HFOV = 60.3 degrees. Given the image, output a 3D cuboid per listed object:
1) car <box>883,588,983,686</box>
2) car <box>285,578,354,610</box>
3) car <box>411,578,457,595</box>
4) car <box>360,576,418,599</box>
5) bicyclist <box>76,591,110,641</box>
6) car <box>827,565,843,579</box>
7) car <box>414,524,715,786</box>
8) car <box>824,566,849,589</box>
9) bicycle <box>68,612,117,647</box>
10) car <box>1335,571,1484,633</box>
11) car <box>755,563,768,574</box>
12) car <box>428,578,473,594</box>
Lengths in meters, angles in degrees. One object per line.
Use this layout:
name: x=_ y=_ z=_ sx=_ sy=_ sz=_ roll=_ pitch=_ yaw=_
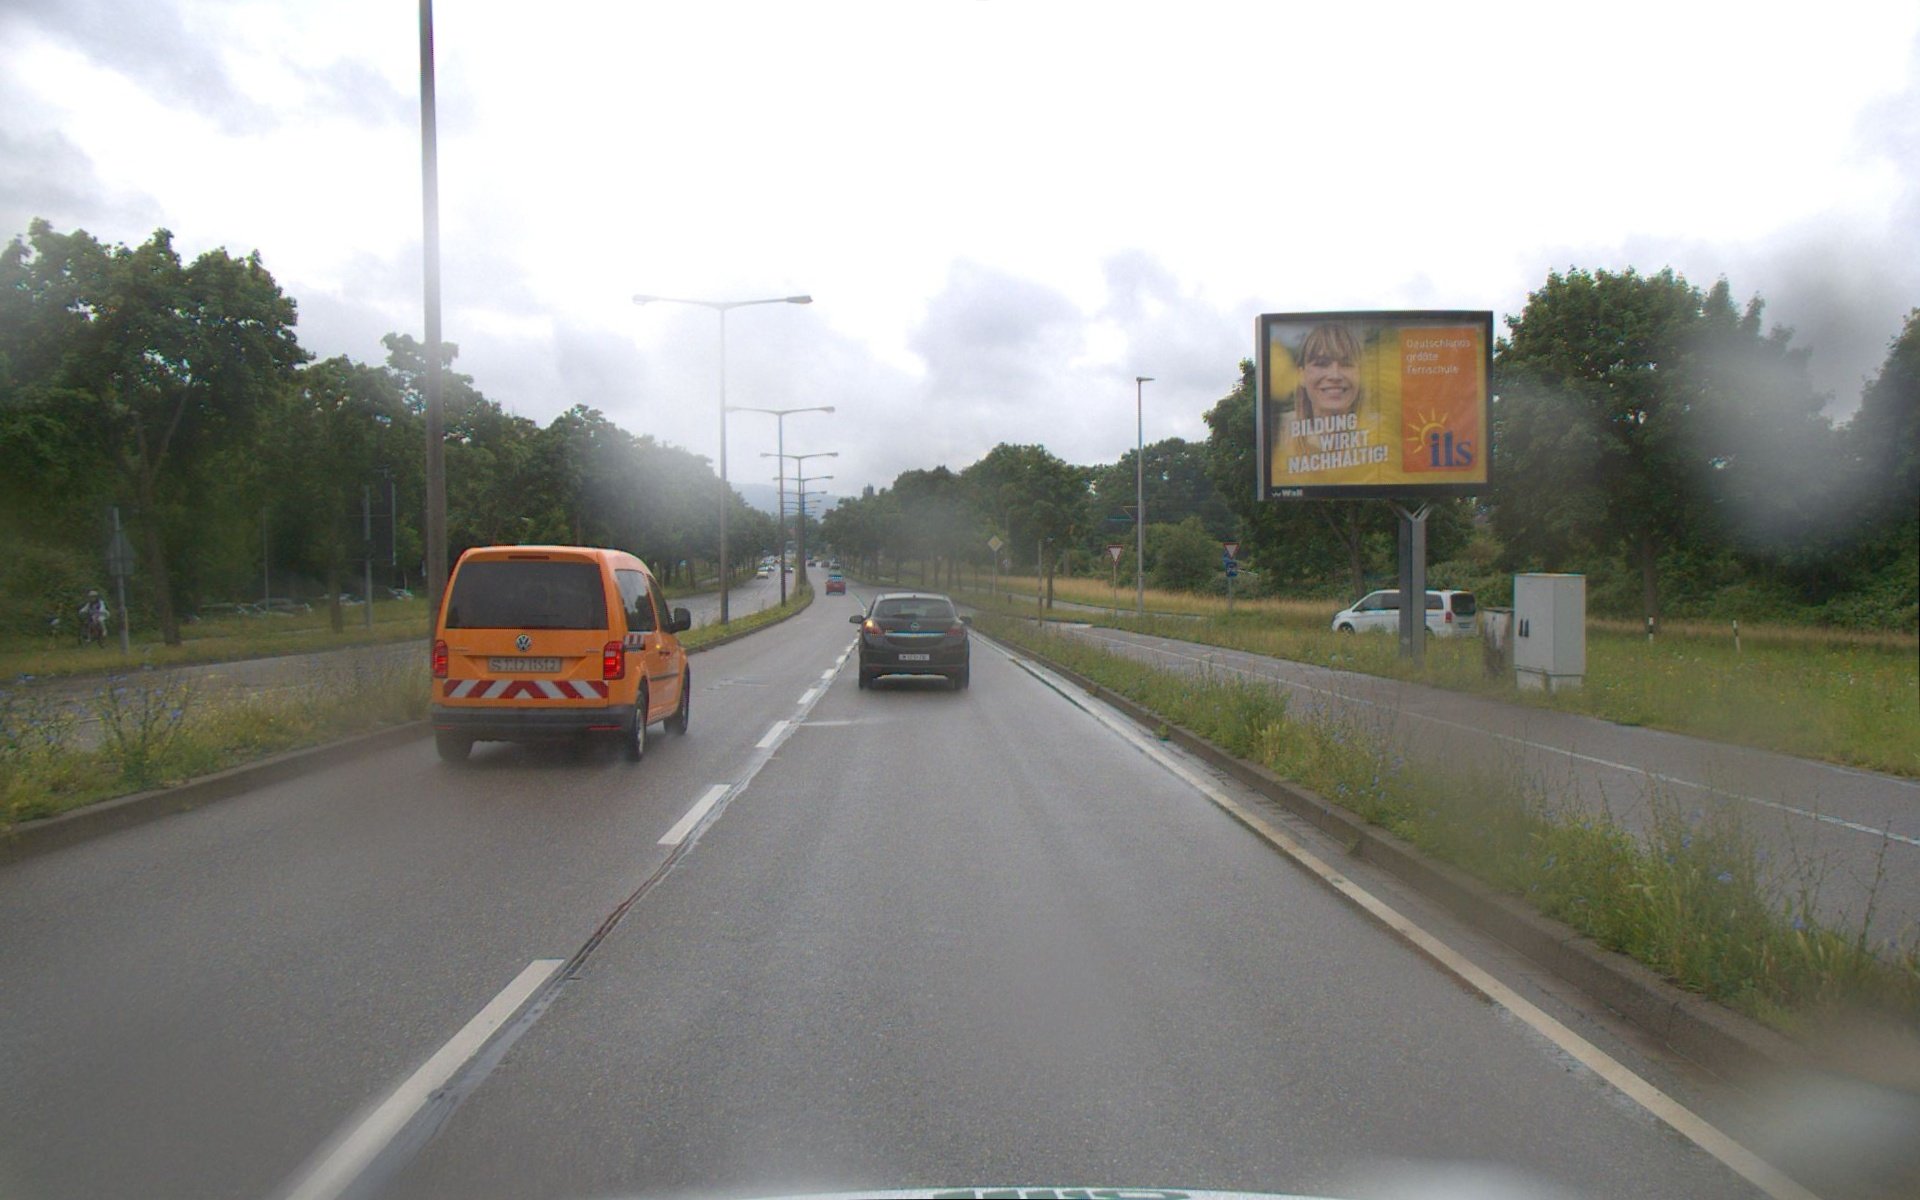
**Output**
car: x=-0.446 y=0.531 z=25.897 sx=1.433 sy=1.352 sz=3.757 roll=0 pitch=1 yaw=-2
car: x=-42.435 y=-0.401 z=109.691 sx=3.914 sy=2.048 sz=1.996 roll=-1 pitch=1 yaw=-9
car: x=-46.655 y=-1.188 z=146.812 sx=3.665 sy=1.451 sz=1.485 roll=-1 pitch=1 yaw=-10
car: x=-43.786 y=-0.957 z=126.874 sx=3.914 sy=1.668 sz=1.908 roll=-1 pitch=1 yaw=-10
bicyclist: x=-23.710 y=0.432 z=45.229 sx=0.511 sy=1.325 sz=0.808 roll=1 pitch=0 yaw=-2
car: x=-19.542 y=-4.386 z=258.078 sx=2.467 sy=2.088 sz=5.288 roll=-1 pitch=1 yaw=-5
car: x=-3.484 y=0.410 z=15.498 sx=1.699 sy=2.054 sz=4.848 roll=1 pitch=1 yaw=-1
car: x=-10.519 y=-1.904 z=141.391 sx=1.953 sy=1.912 sz=3.999 roll=1 pitch=1 yaw=-2
bicycle: x=-23.715 y=0.809 z=45.226 sx=0.511 sy=0.901 sz=1.633 roll=1 pitch=0 yaw=-1
car: x=15.193 y=0.052 z=56.117 sx=2.047 sy=2.009 sz=4.540 roll=0 pitch=1 yaw=-41
car: x=-28.404 y=-4.496 z=236.633 sx=1.649 sy=1.581 sz=3.998 roll=1 pitch=1 yaw=-3
car: x=-47.566 y=-1.299 z=154.392 sx=3.765 sy=1.477 sz=1.522 roll=-1 pitch=1 yaw=-10
